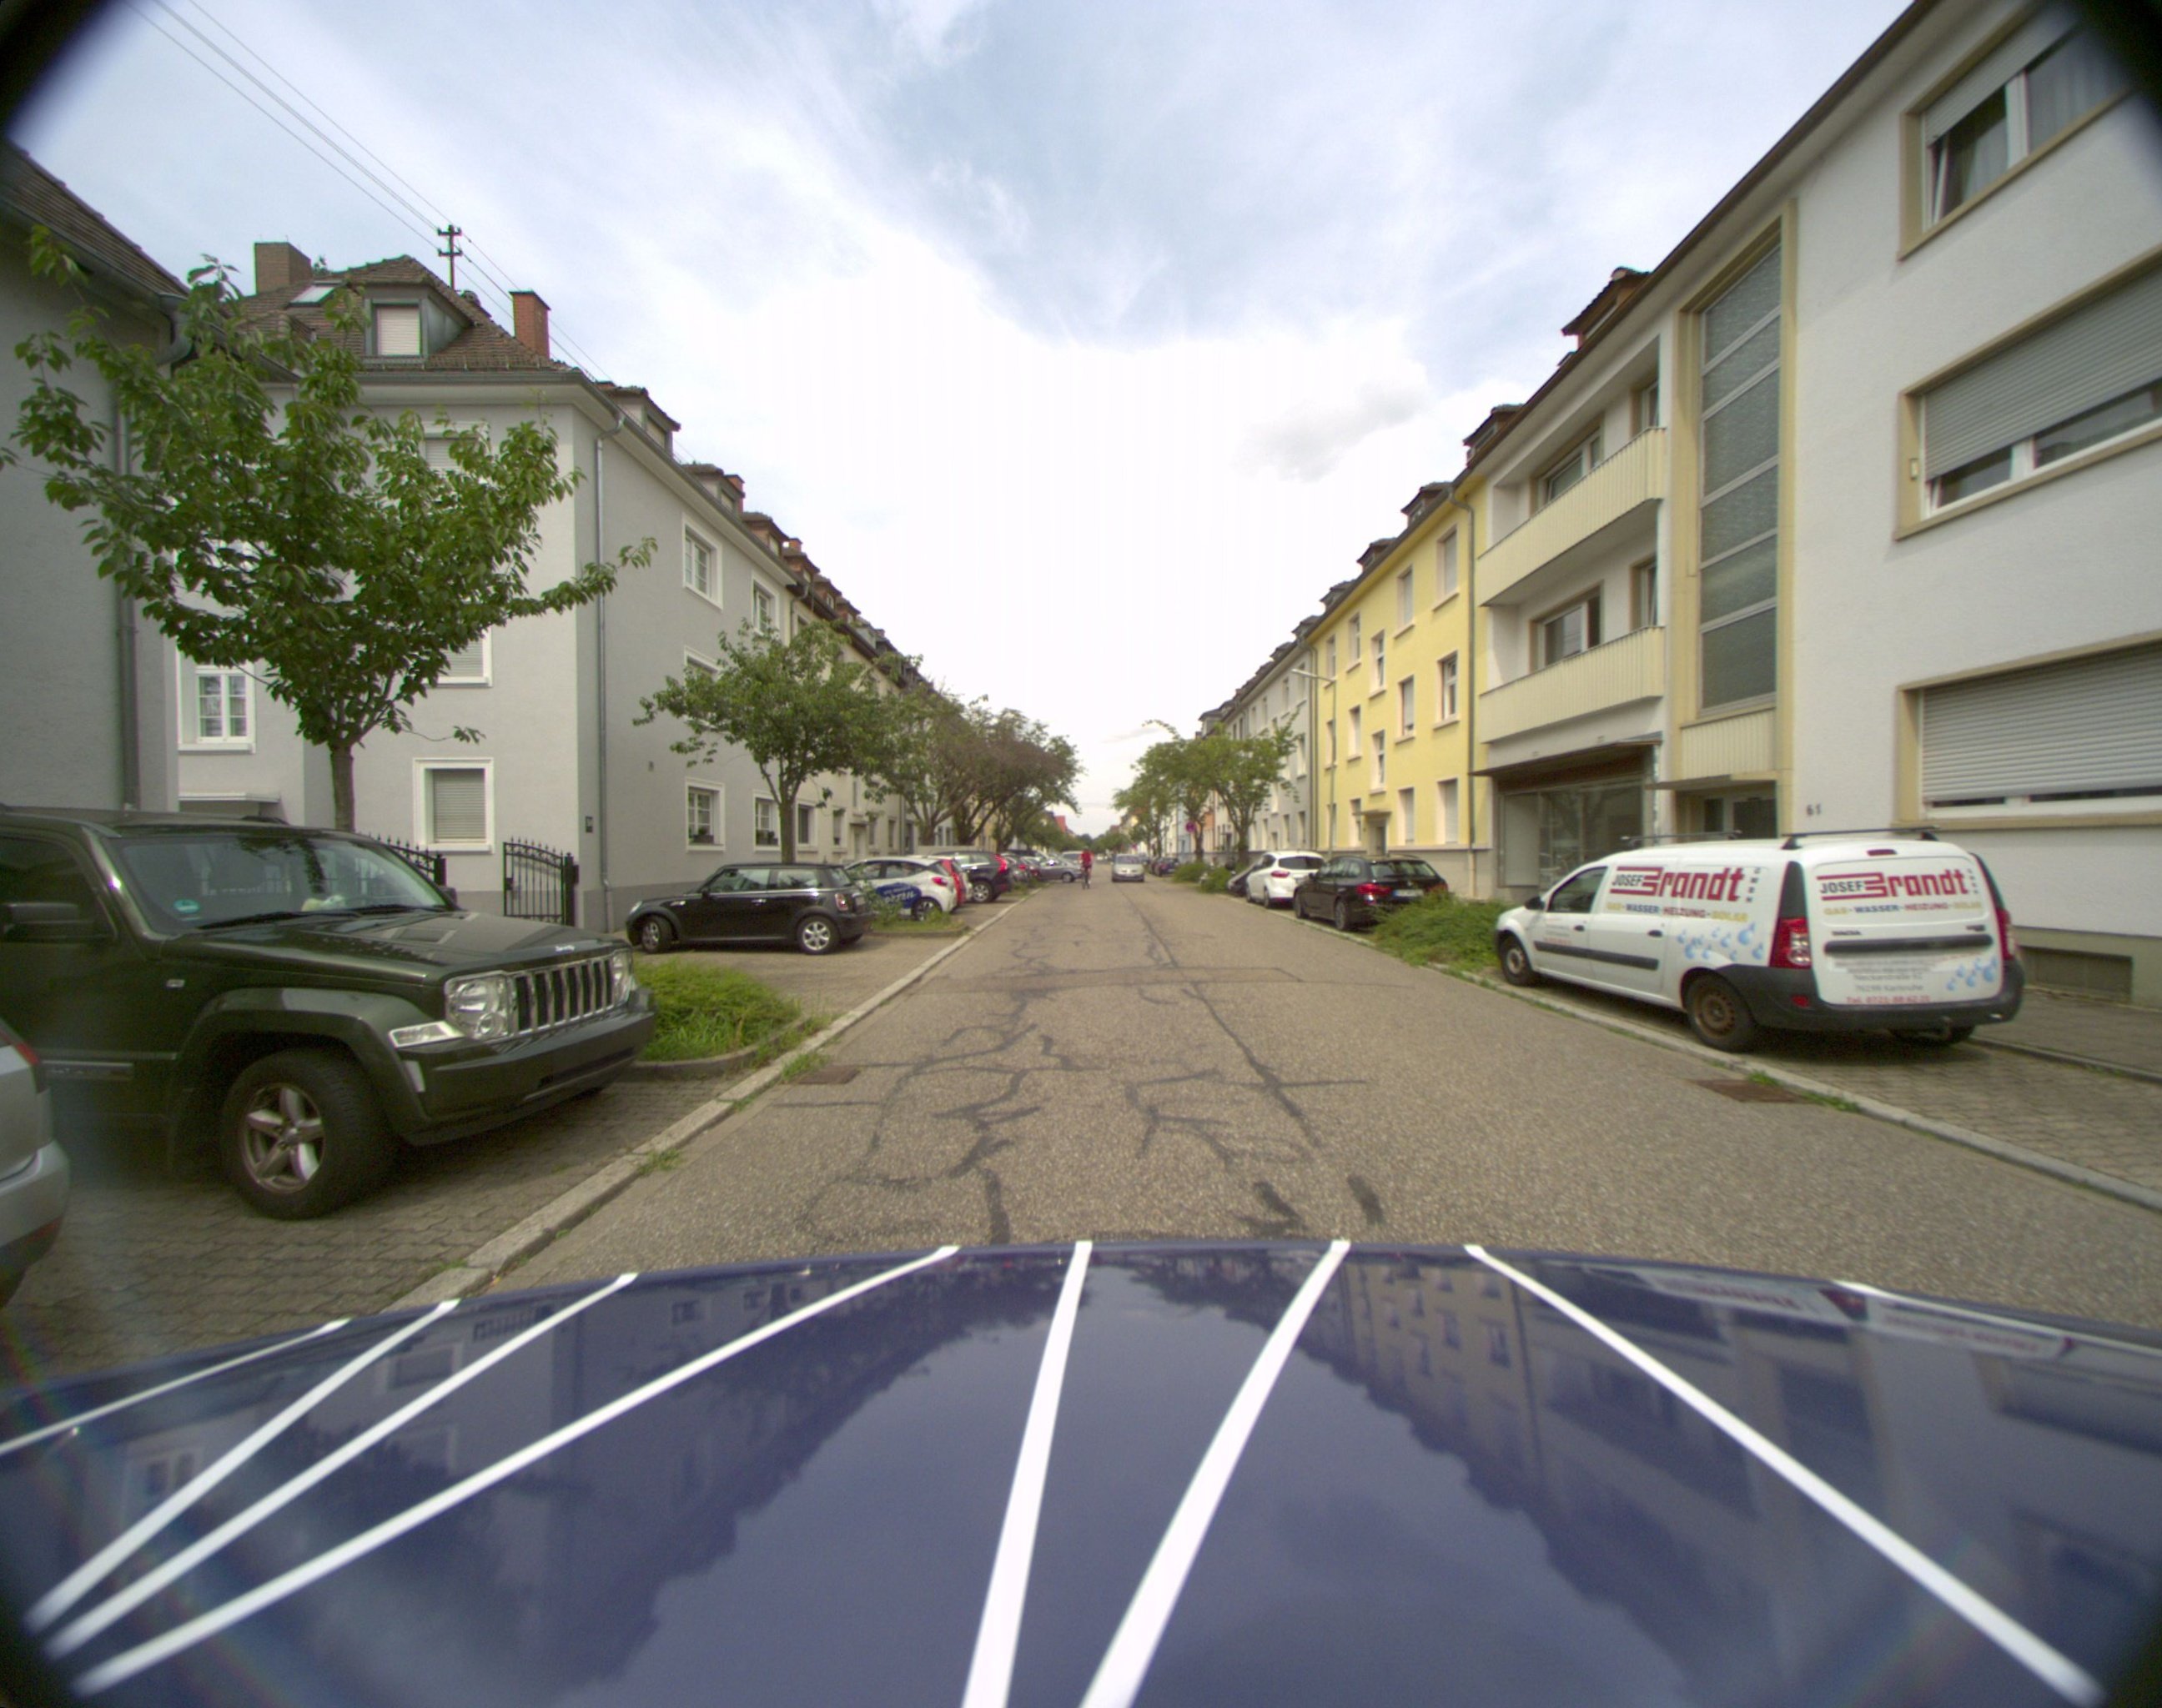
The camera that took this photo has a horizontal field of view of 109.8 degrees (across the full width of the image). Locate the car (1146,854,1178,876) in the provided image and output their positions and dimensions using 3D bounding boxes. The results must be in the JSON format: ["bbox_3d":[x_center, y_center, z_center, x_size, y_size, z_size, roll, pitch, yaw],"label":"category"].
[{"bbox_3d":[5.960,0.795,56.295,1.841,1.475,4.120,-3,1,-1],"label":"car"}]

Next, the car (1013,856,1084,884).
[{"bbox_3d":[-1.856,0.926,44.295,3.997,1.446,1.766,2,1,0],"label":"car"}]

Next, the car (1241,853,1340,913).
[{"bbox_3d":[5.929,0.751,22.031,1.761,1.547,4.256,0,0,1],"label":"car"}]

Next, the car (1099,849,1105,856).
[{"bbox_3d":[6.600,-0.402,233.927,1.757,2.098,3.621,2,1,1],"label":"car"}]

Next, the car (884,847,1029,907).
[{"bbox_3d":[-3.929,0.690,24.446,4.224,1.726,1.904,2,1,3],"label":"car"}]

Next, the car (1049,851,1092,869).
[{"bbox_3d":[-1.168,0.637,84.787,4.750,1.899,1.850,2,1,1],"label":"car"}]

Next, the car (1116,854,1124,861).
[{"bbox_3d":[8.549,0.814,167.198,1.625,1.495,3.443,2,1,1],"label":"car"}]

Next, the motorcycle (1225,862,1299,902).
[{"bbox_3d":[6.475,0.989,27.176,2.450,1.303,0.645,2,1,25],"label":"motorcycle"}]

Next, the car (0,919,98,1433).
[{"bbox_3d":[-4.855,0.890,1.399,3.635,1.446,1.772,2,1,-3],"label":"car"}]

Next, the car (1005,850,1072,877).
[{"bbox_3d":[-2.567,0.554,46.835,3.997,1.527,1.638,2,1,0],"label":"car"}]

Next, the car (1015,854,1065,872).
[{"bbox_3d":[-3.768,0.811,70.532,4.559,1.501,1.850,2,1,-1],"label":"car"}]

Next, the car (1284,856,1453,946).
[{"bbox_3d":[5.721,0.841,15.822,1.795,1.483,4.812,-1,1,1],"label":"car"}]

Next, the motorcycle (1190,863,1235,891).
[{"bbox_3d":[5.802,1.003,33.470,1.915,1.185,0.595,1,1,-25],"label":"motorcycle"}]

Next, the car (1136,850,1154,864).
[{"bbox_3d":[7.462,0.328,88.487,1.697,1.573,4.248,-1,1,-1],"label":"car"}]

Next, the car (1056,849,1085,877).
[{"bbox_3d":[-0.777,0.622,55.741,1.999,1.904,4.703,-2,1,-1],"label":"car"}]

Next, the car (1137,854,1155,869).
[{"bbox_3d":[7.028,0.801,82.017,1.706,1.533,4.249,1,0,2],"label":"car"}]

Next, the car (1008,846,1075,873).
[{"bbox_3d":[-3.206,0.418,61.297,5.244,2.011,2.072,2,1,-3],"label":"car"}]

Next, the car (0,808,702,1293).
[{"bbox_3d":[-4.707,0.722,3.984,4.535,1.847,1.793,2,1,3],"label":"car"}]

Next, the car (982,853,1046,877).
[{"bbox_3d":[-4.334,0.719,49.530,3.997,1.412,1.638,2,1,0],"label":"car"}]

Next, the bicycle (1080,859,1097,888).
[{"bbox_3d":[0.341,0.874,34.082,0.693,1.220,1.937,-1,1,1],"label":"bicycle"}]

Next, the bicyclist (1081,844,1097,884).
[{"bbox_3d":[0.357,0.447,34.108,0.694,1.760,0.986,-1,1,1],"label":"bicyclist"}]

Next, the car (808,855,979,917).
[{"bbox_3d":[-4.780,0.805,19.818,3.998,1.402,1.767,2,1,-2],"label":"car"}]

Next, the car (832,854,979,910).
[{"bbox_3d":[-5.024,0.785,22.119,3.756,1.433,1.865,2,1,2],"label":"car"}]

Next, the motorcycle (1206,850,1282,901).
[{"bbox_3d":[5.606,0.715,26.217,0.941,1.666,2.467,0,0,-42],"label":"motorcycle"}]

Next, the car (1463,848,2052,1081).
[{"bbox_3d":[5.814,0.759,7.499,1.923,1.572,4.382,2,1,1],"label":"car"}]

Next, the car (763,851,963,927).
[{"bbox_3d":[-4.800,0.744,17.177,3.998,1.521,1.767,2,1,-2],"label":"car"}]

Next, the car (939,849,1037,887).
[{"bbox_3d":[-4.203,0.629,34.817,4.226,1.588,1.903,2,1,-1],"label":"car"}]

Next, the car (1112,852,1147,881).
[{"bbox_3d":[2.746,0.676,43.835,1.788,1.595,4.836,0,0,1],"label":"car"}]

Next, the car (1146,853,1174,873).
[{"bbox_3d":[6.456,0.726,62.410,1.841,1.475,4.092,-2,1,-1],"label":"car"}]

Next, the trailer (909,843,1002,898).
[{"bbox_3d":[-4.435,0.581,27.057,2.967,1.821,1.401,2,1,4],"label":"trailer"}]

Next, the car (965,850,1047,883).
[{"bbox_3d":[-4.107,0.691,42.183,4.224,1.668,1.904,2,1,3],"label":"car"}]

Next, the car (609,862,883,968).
[{"bbox_3d":[-5.199,0.909,12.154,3.552,1.444,1.809,2,1,0],"label":"car"}]

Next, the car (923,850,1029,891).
[{"bbox_3d":[-4.373,0.686,32.269,4.226,1.588,1.903,2,1,-1],"label":"car"}]

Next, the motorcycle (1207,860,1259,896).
[{"bbox_3d":[6.470,1.016,32.329,2.242,1.473,0.595,1,1,-25],"label":"motorcycle"}]
